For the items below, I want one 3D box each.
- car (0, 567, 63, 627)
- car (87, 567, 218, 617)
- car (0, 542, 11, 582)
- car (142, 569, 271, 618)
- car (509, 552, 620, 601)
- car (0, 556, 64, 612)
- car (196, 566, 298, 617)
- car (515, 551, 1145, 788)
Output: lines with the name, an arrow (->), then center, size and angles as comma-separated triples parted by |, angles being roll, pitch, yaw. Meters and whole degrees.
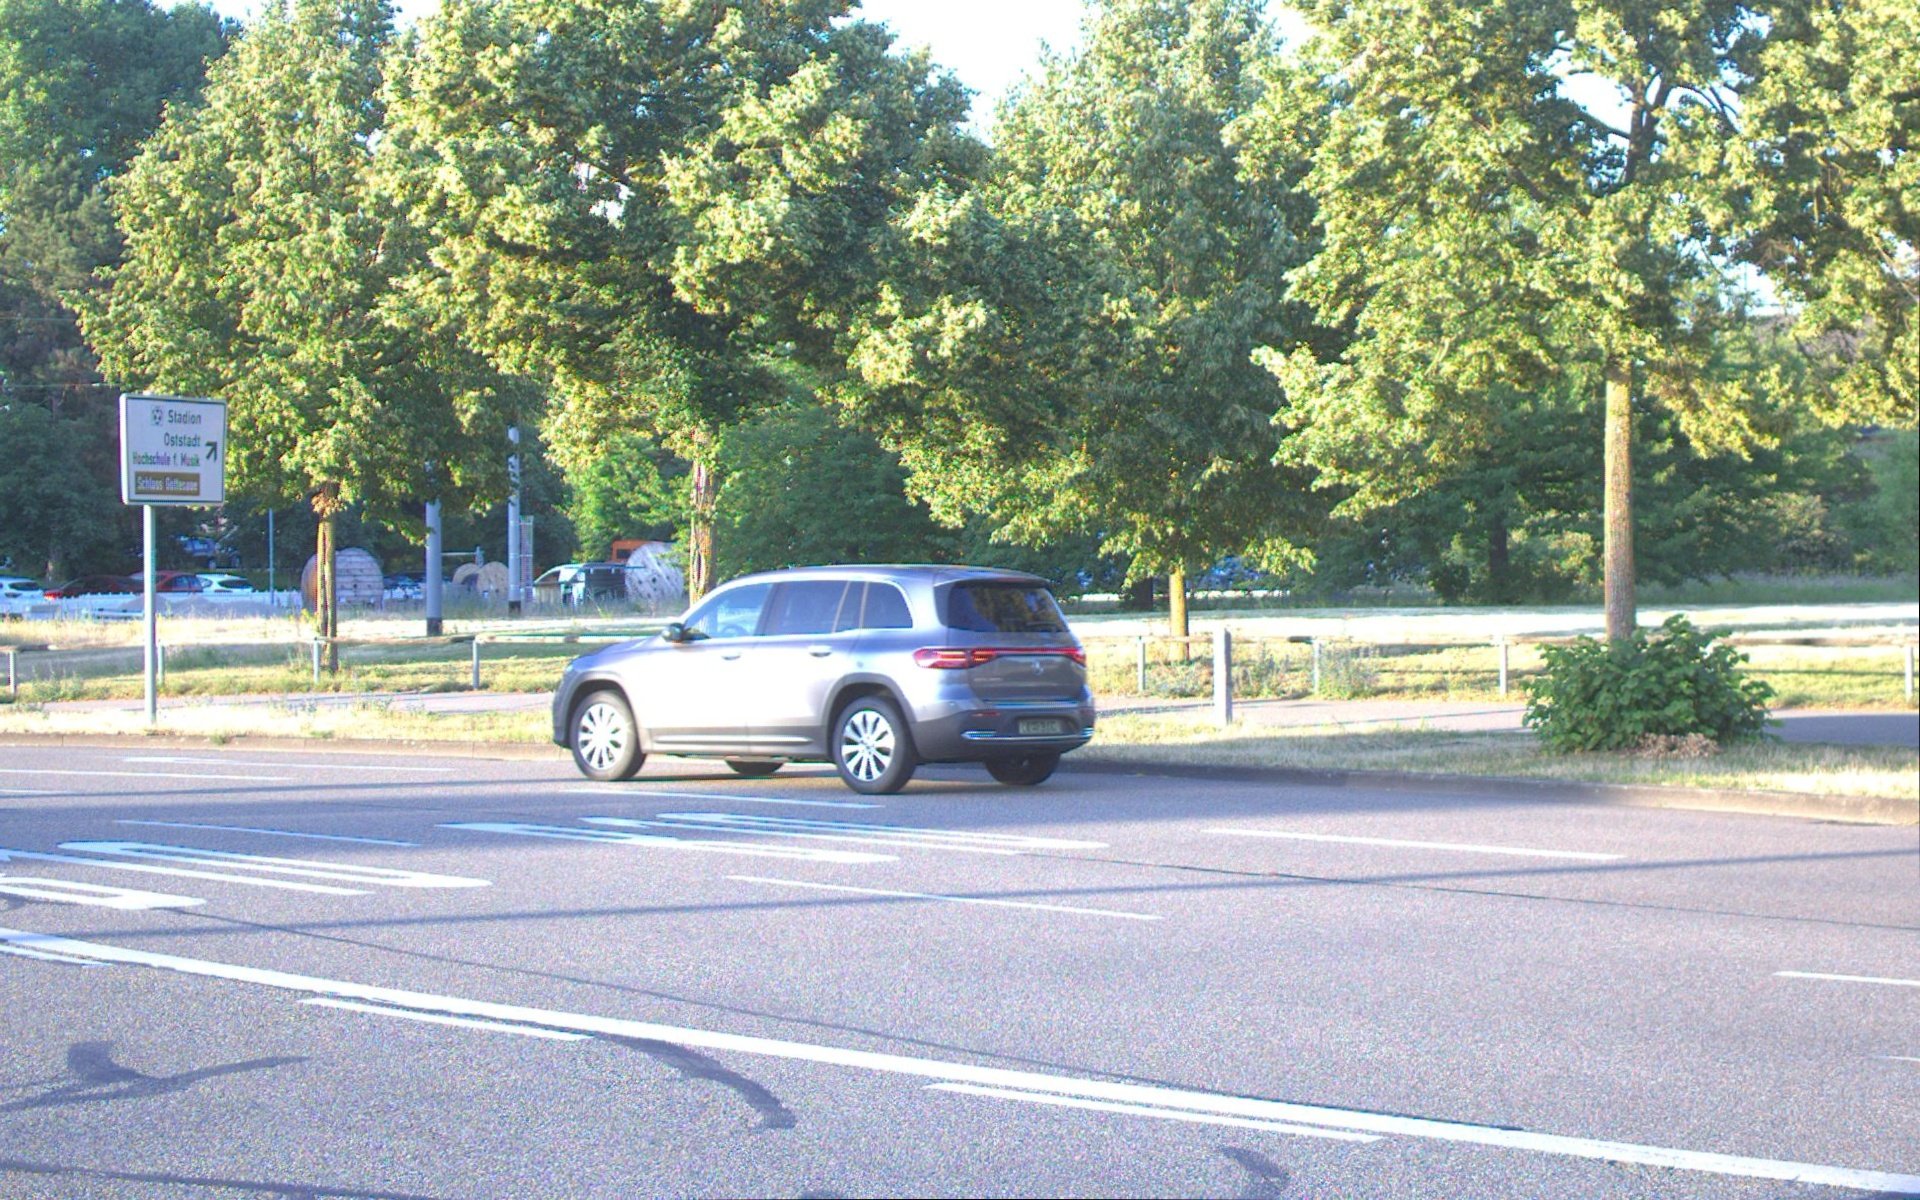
car -> -33.162, -0.111, 117.664 | 4.582, 2.007, 2.001 | -1, 1, -9
car -> -26.788, -0.278, 114.085 | 3.994, 1.598, 1.996 | 0, 1, 33
car -> -42.429, -1.598, 145.353 | 3.988, 1.700, 2.000 | 0, 1, 7
car -> -25.385, -0.222, 115.816 | 3.994, 1.598, 1.996 | 0, 1, 33
car -> -13.243, -0.791, 114.875 | 1.734, 1.612, 3.998 | -1, 1, -41
car -> -35.248, -0.569, 125.797 | 4.582, 2.007, 2.001 | -1, 1, -9
car -> -26.834, -0.339, 129.294 | 1.994, 1.746, 4.597 | -1, 2, -37
car -> -1.034, 0.460, 25.947 | 4.521, 1.632, 1.996 | 0, 1, 38
